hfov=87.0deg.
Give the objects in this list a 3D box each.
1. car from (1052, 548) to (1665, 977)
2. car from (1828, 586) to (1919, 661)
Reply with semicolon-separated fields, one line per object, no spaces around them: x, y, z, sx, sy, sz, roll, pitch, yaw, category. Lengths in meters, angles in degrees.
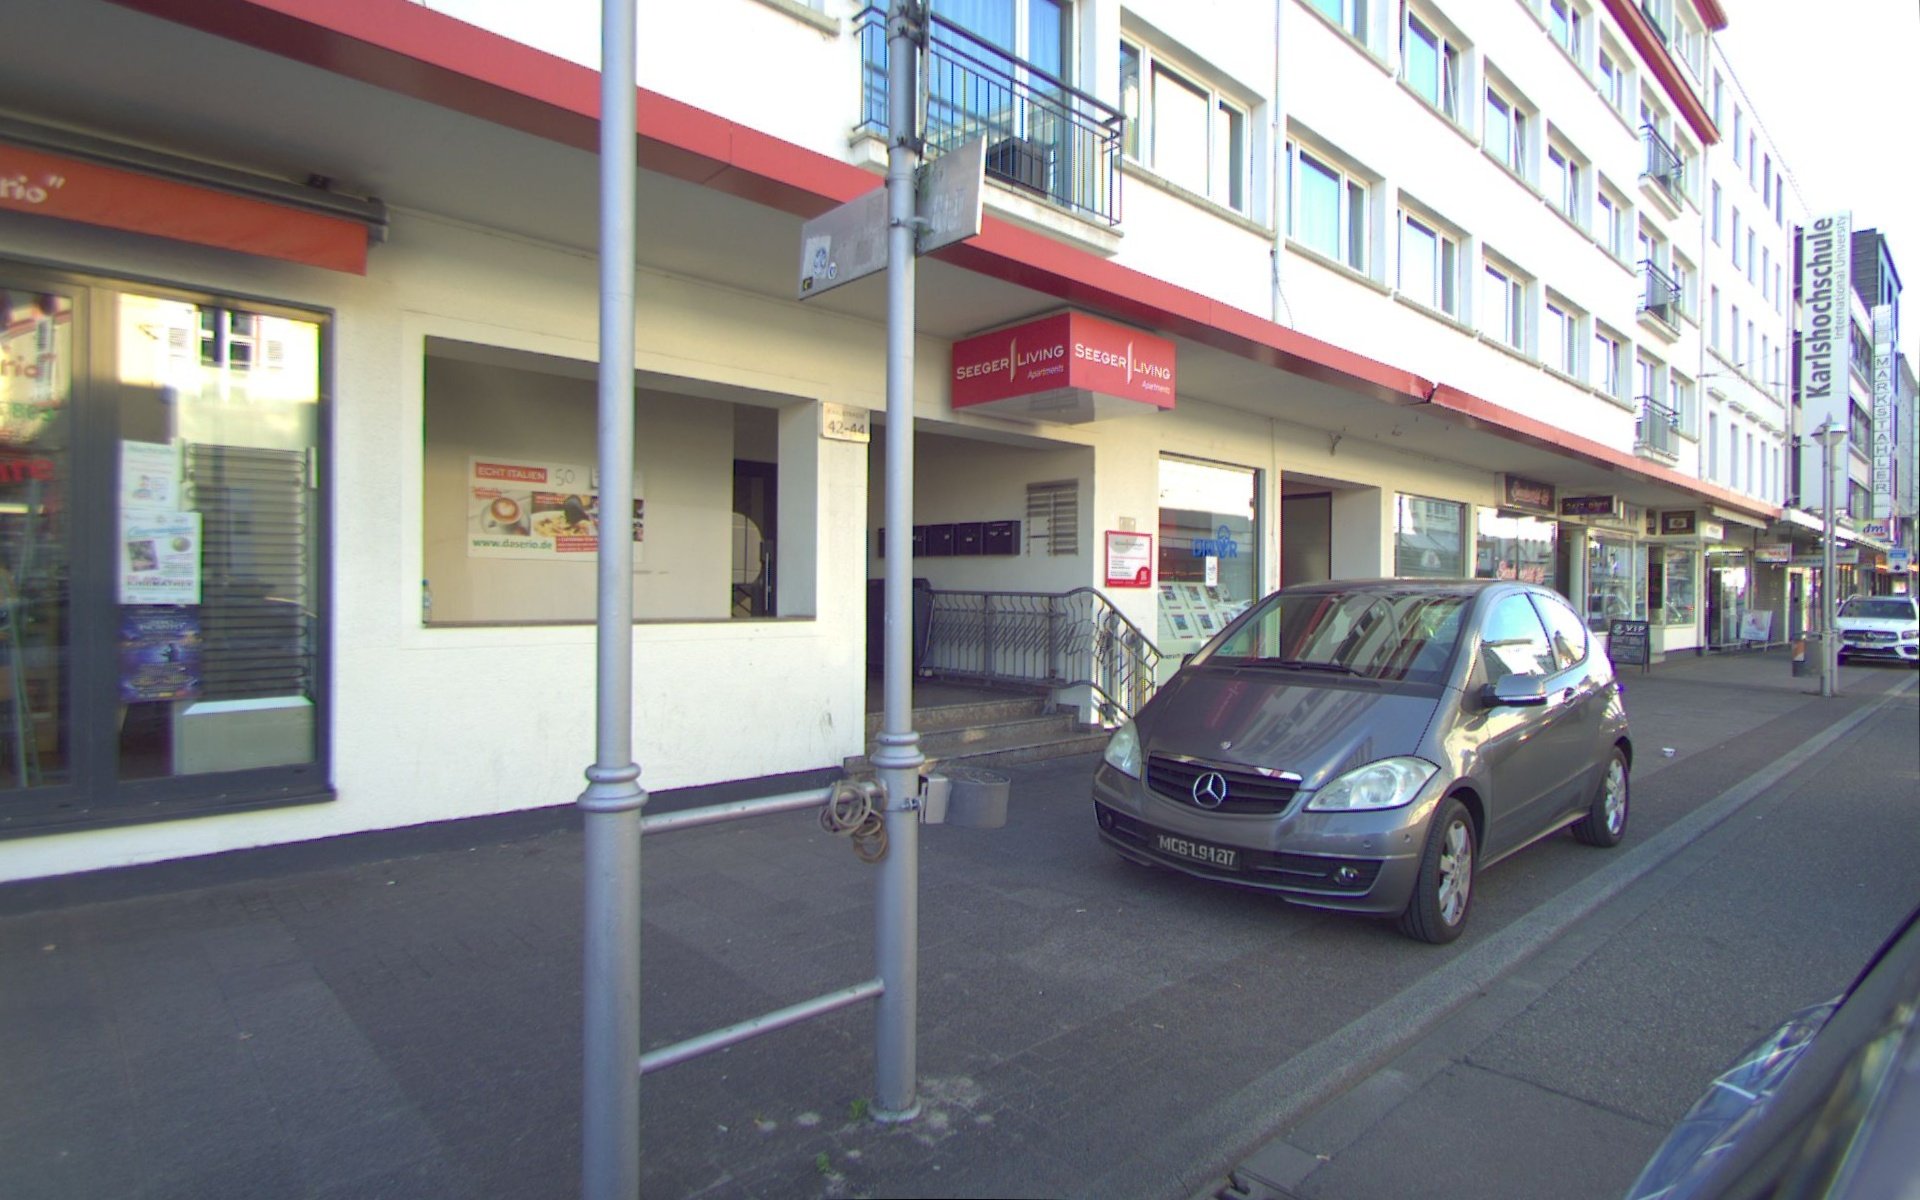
2.448;0.594;5.667;3.932;1.565;1.681;0;0;-43;car
22.386;0.516;24.357;1.994;1.650;3.935;1;1;45;car
